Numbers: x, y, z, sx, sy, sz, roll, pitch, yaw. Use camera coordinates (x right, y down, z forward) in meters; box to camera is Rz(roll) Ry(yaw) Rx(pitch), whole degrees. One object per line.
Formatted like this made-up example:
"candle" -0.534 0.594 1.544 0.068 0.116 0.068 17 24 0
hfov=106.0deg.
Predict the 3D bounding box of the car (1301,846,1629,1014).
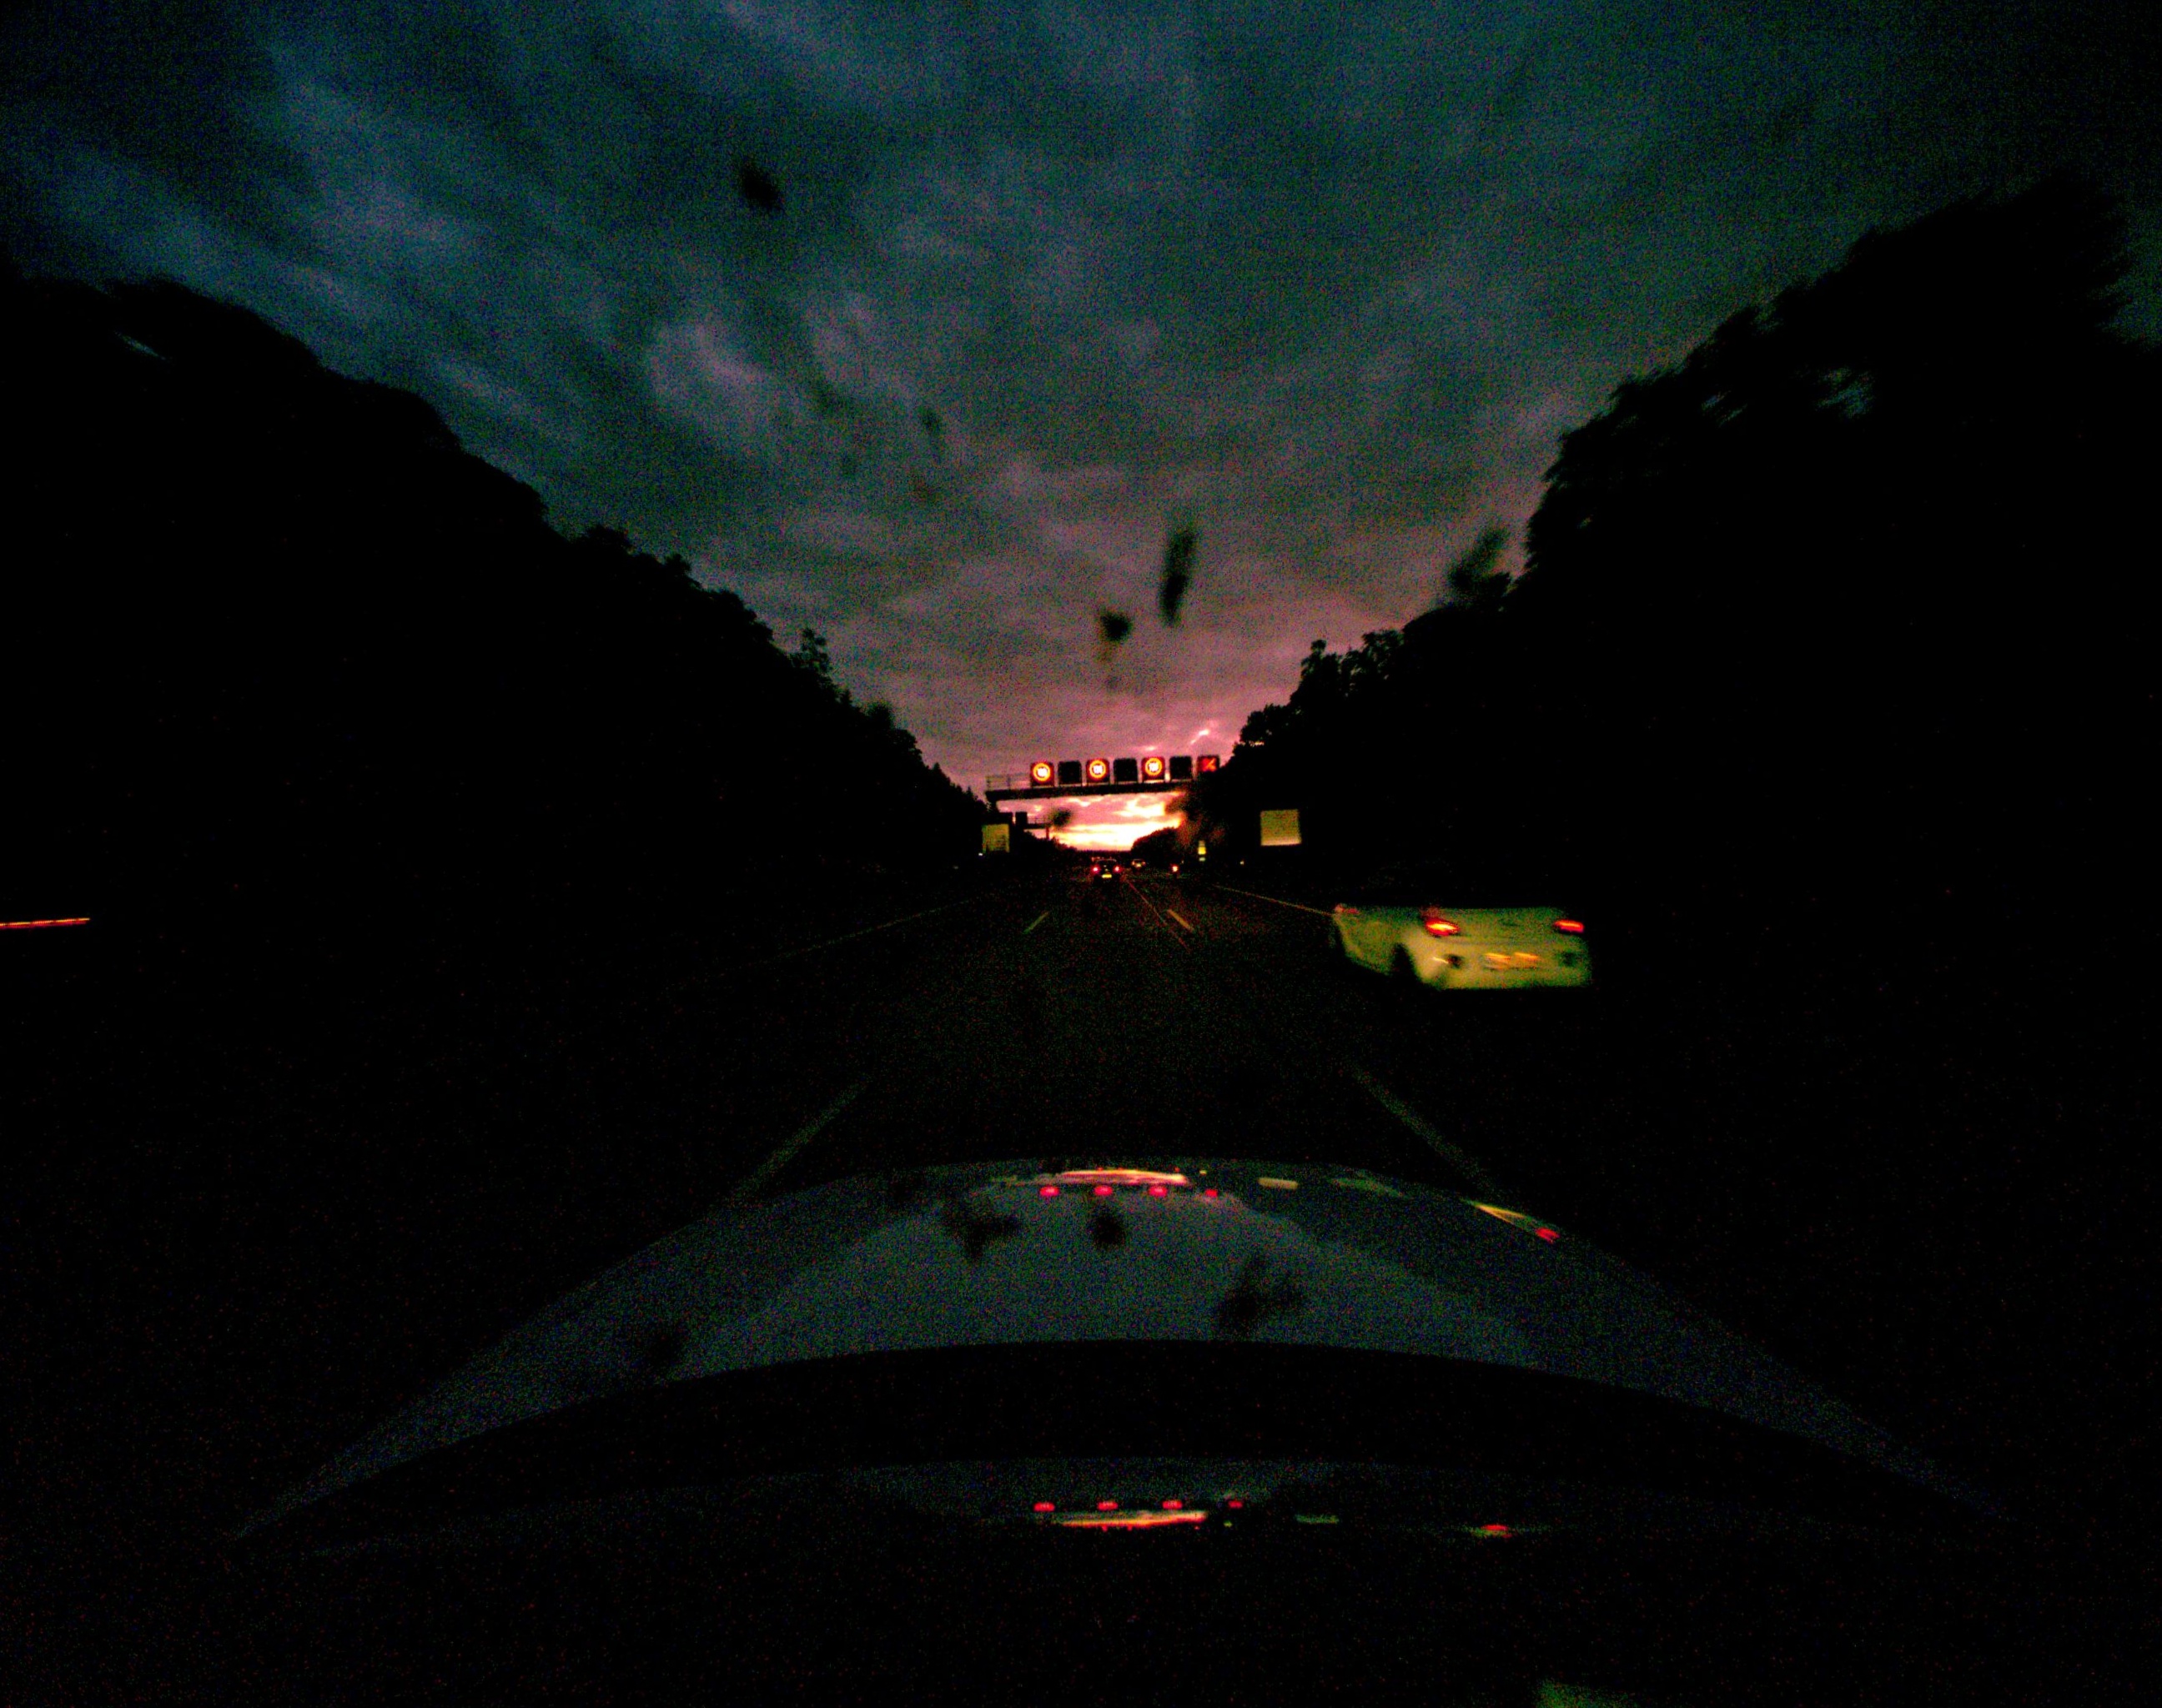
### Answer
"car" 4.049 0.688 9.525 1.819 1.476 4.400 -1 0 1

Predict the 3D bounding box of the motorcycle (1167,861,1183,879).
"motorcycle" 6.330 1.061 55.113 0.826 1.134 2.477 -2 -1 2

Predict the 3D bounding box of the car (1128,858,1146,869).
"car" 7.489 1.271 109.234 1.861 1.494 4.394 0 -1 -2

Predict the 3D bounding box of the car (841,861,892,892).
"car" -13.144 1.348 50.082 1.729 1.715 4.716 -1 0 1

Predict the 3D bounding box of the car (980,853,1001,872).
"car" -14.361 1.321 129.654 1.973 2.880 7.840 -2 -1 3

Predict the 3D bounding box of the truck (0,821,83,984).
"truck" -18.053 0.759 8.662 2.450 2.509 9.763 -1 0 3

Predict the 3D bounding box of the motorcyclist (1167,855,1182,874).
"motorcyclist" 6.318 0.697 55.049 0.826 1.291 1.190 -2 -1 2

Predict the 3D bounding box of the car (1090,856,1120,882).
"car" 1.451 0.904 49.077 1.697 1.509 4.233 0 -1 2
